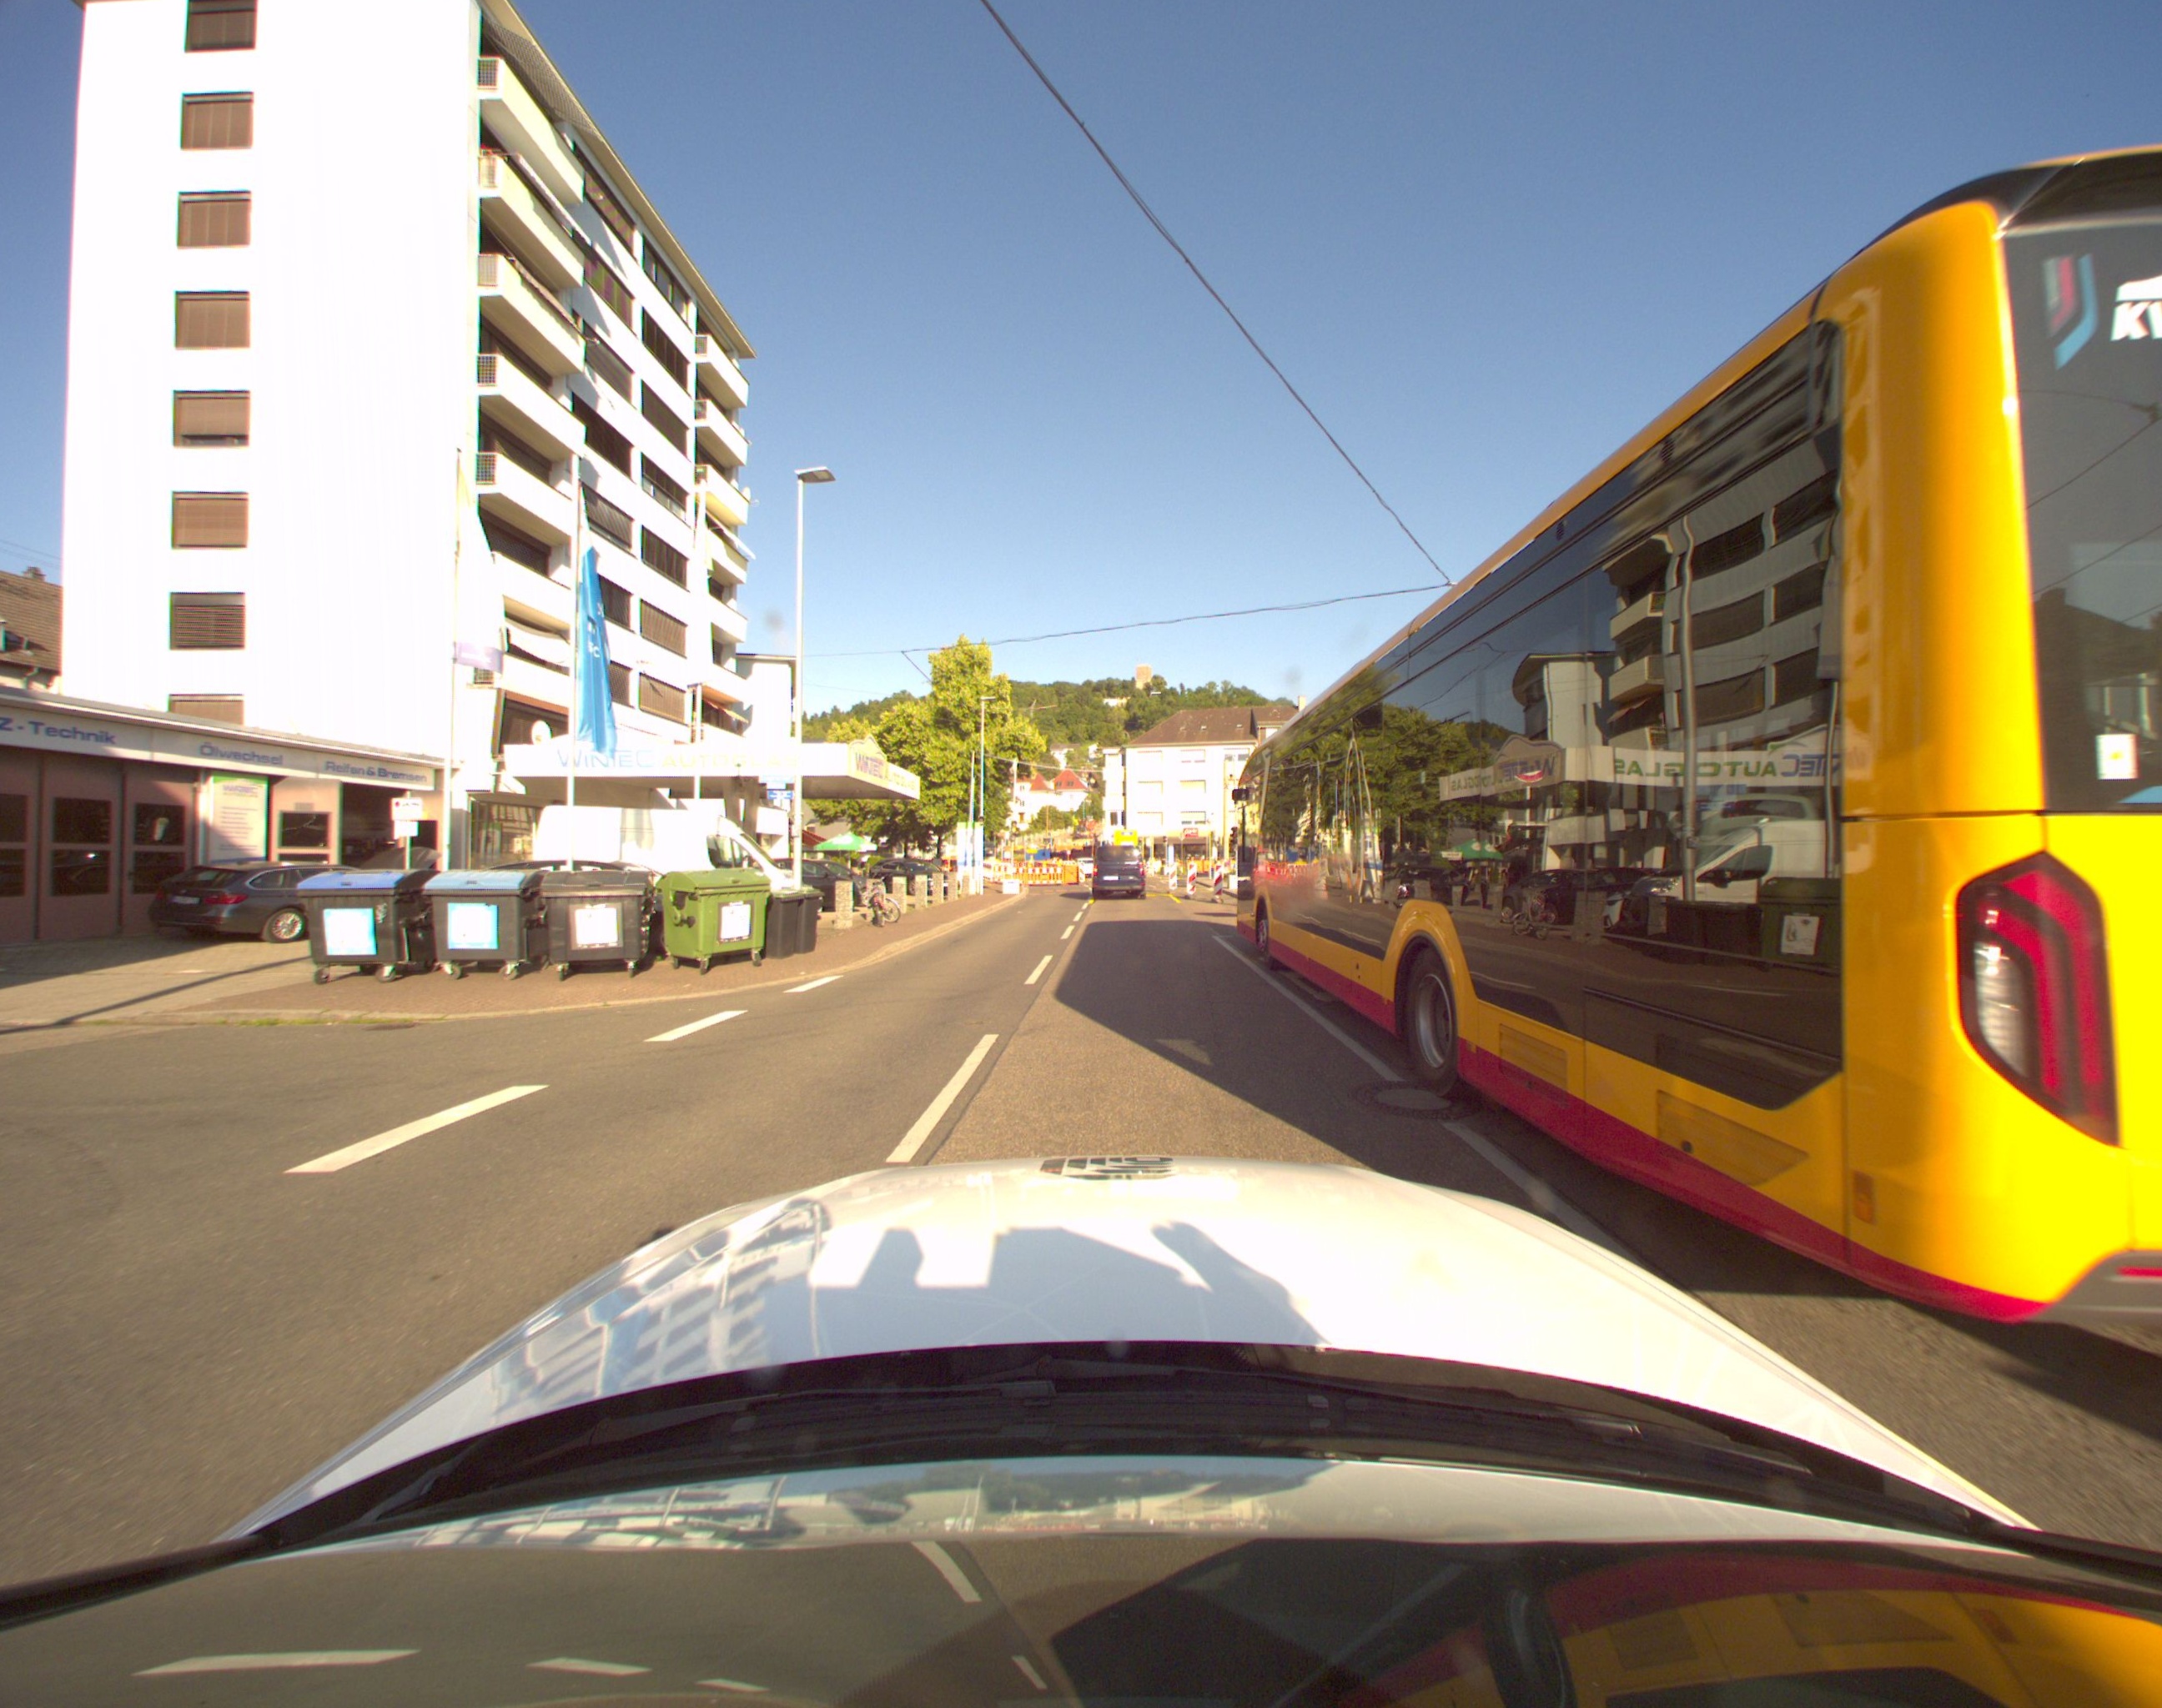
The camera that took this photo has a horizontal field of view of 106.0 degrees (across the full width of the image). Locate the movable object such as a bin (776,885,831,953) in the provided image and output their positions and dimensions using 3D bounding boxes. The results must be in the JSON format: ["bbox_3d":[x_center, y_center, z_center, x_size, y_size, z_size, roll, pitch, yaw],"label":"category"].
[{"bbox_3d":[-4.673,1.084,13.716,0.635,1.069,0.582,0,2,15],"label":"movable object such as a bin"}]

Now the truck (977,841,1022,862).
[{"bbox_3d":[-9.893,-0.245,99.521,2.339,2.416,9.188,0,0,15],"label":"truck"}]

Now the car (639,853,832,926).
[{"bbox_3d":[-8.097,0.786,19.212,4.008,1.568,1.757,1,0,-27],"label":"car"}]

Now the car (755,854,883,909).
[{"bbox_3d":[-8.033,0.805,25.130,1.601,1.568,3.414,-1,-1,41],"label":"car"}]

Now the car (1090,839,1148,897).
[{"bbox_3d":[1.461,0.539,31.109,2.053,2.014,5.003,0,-1,3],"label":"car"}]

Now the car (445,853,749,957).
[{"bbox_3d":[-7.911,0.807,13.709,3.989,1.568,1.766,1,0,-12],"label":"car"}]

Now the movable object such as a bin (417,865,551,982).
[{"bbox_3d":[-8.018,0.908,10.979,1.215,1.482,0.704,0,2,-2],"label":"movable object such as a bin"}]

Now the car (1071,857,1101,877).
[{"bbox_3d":[0.340,0.969,60.738,1.792,1.409,3.990,-1,-1,-7],"label":"car"}]

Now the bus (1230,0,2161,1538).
[{"bbox_3d":[3.567,-0.217,7.749,2.677,3.416,12.027,0,0,3],"label":"bus"}]

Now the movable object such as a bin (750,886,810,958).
[{"bbox_3d":[-4.842,1.086,13.110,0.655,1.062,0.587,2,2,15],"label":"movable object such as a bin"}]

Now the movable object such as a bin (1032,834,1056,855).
[{"bbox_3d":[-4.978,-1.225,109.851,2.175,2.690,4.015,0,0,14],"label":"movable object such as a bin"}]

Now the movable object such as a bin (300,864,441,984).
[{"bbox_3d":[-9.394,0.903,10.807,1.175,1.482,0.704,0,2,-2],"label":"movable object such as a bin"}]

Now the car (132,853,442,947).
[{"bbox_3d":[-15.214,0.786,16.032,1.760,1.568,4.317,1,0,2],"label":"car"}]

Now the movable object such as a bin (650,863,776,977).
[{"bbox_3d":[-5.445,0.927,12.103,1.045,1.482,1.321,1,3,31],"label":"movable object such as a bin"}]

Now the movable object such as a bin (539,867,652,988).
[{"bbox_3d":[-6.544,0.955,11.058,1.224,1.482,0.698,-2,3,-26],"label":"movable object such as a bin"}]

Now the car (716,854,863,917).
[{"bbox_3d":[-7.838,0.788,22.049,3.413,1.568,1.602,1,-1,-44],"label":"car"}]

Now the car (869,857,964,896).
[{"bbox_3d":[-6.822,0.883,33.506,1.921,1.454,4.262,1,0,-41],"label":"car"}]

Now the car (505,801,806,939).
[{"bbox_3d":[-8.227,0.310,16.405,5.071,2.469,2.095,1,-1,-19],"label":"car"}]

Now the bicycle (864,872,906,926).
[{"bbox_3d":[-4.522,1.017,18.879,0.722,1.178,1.777,0,-1,-6],"label":"bicycle"}]

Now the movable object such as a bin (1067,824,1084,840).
[{"bbox_3d":[-0.953,-3.900,144.303,2.175,2.690,4.015,0,0,14],"label":"movable object such as a bin"}]
